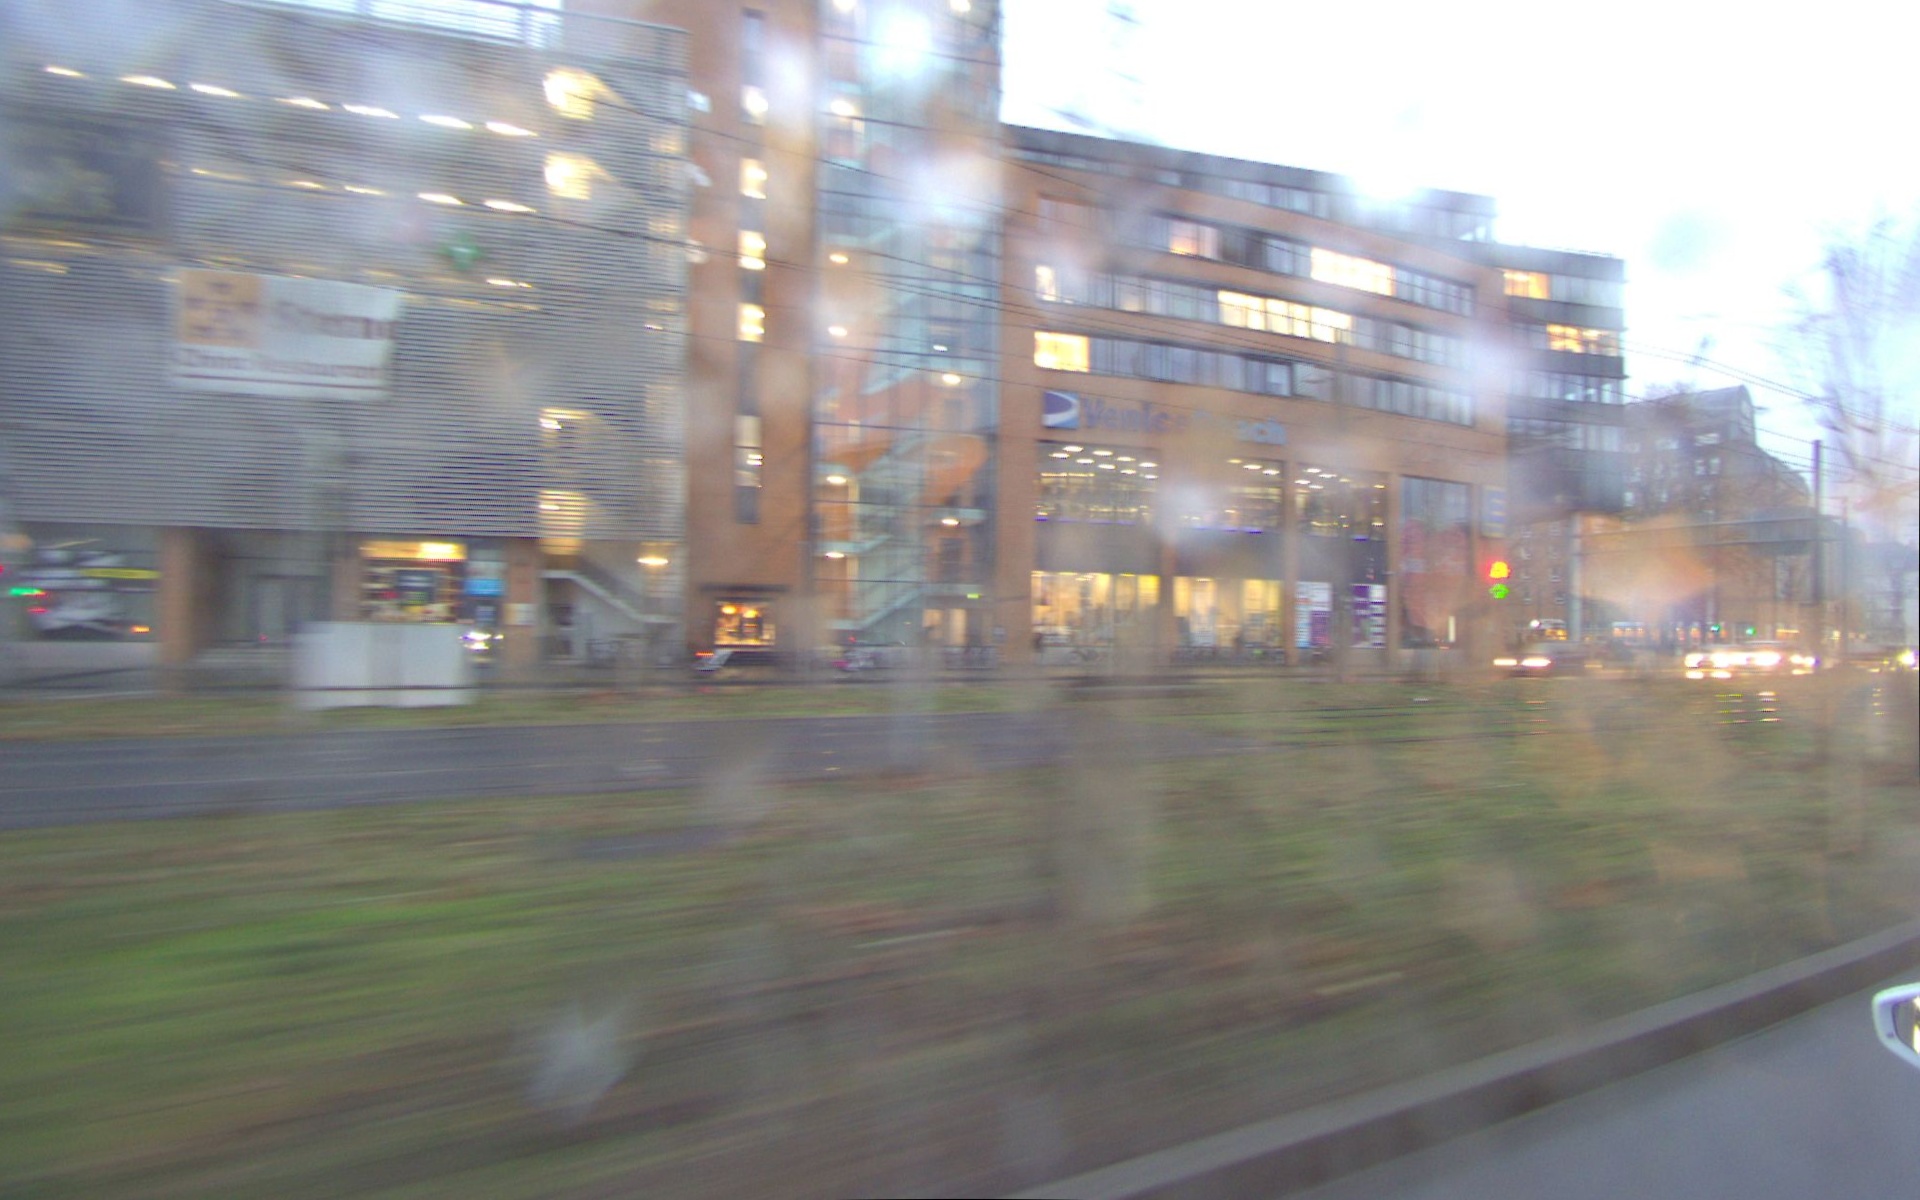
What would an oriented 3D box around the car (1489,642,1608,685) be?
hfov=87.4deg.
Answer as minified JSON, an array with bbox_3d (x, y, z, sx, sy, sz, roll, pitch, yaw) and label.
[{"bbox_3d":[21.050,2.244,35.910,3.903,1.461,1.810,2,-2,-25],"label":"car"}]

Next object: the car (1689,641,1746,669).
[{"bbox_3d":[41.151,2.976,54.562,3.514,1.420,1.496,2,-2,-36],"label":"car"}]

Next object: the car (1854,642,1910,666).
[{"bbox_3d":[59.429,3.492,64.724,4.275,1.469,1.979,2,-2,-37],"label":"car"}]

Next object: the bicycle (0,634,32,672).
[{"bbox_3d":[-29.626,1.579,30.522,2.056,1.136,0.476,3,-2,-15],"label":"bicycle"}]

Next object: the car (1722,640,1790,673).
[{"bbox_3d":[35.723,2.524,45.035,3.618,1.390,1.496,3,-3,-36],"label":"car"}]

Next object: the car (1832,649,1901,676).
[{"bbox_3d":[50.545,3.453,55.991,4.150,1.411,1.721,2,-2,-30],"label":"car"}]
